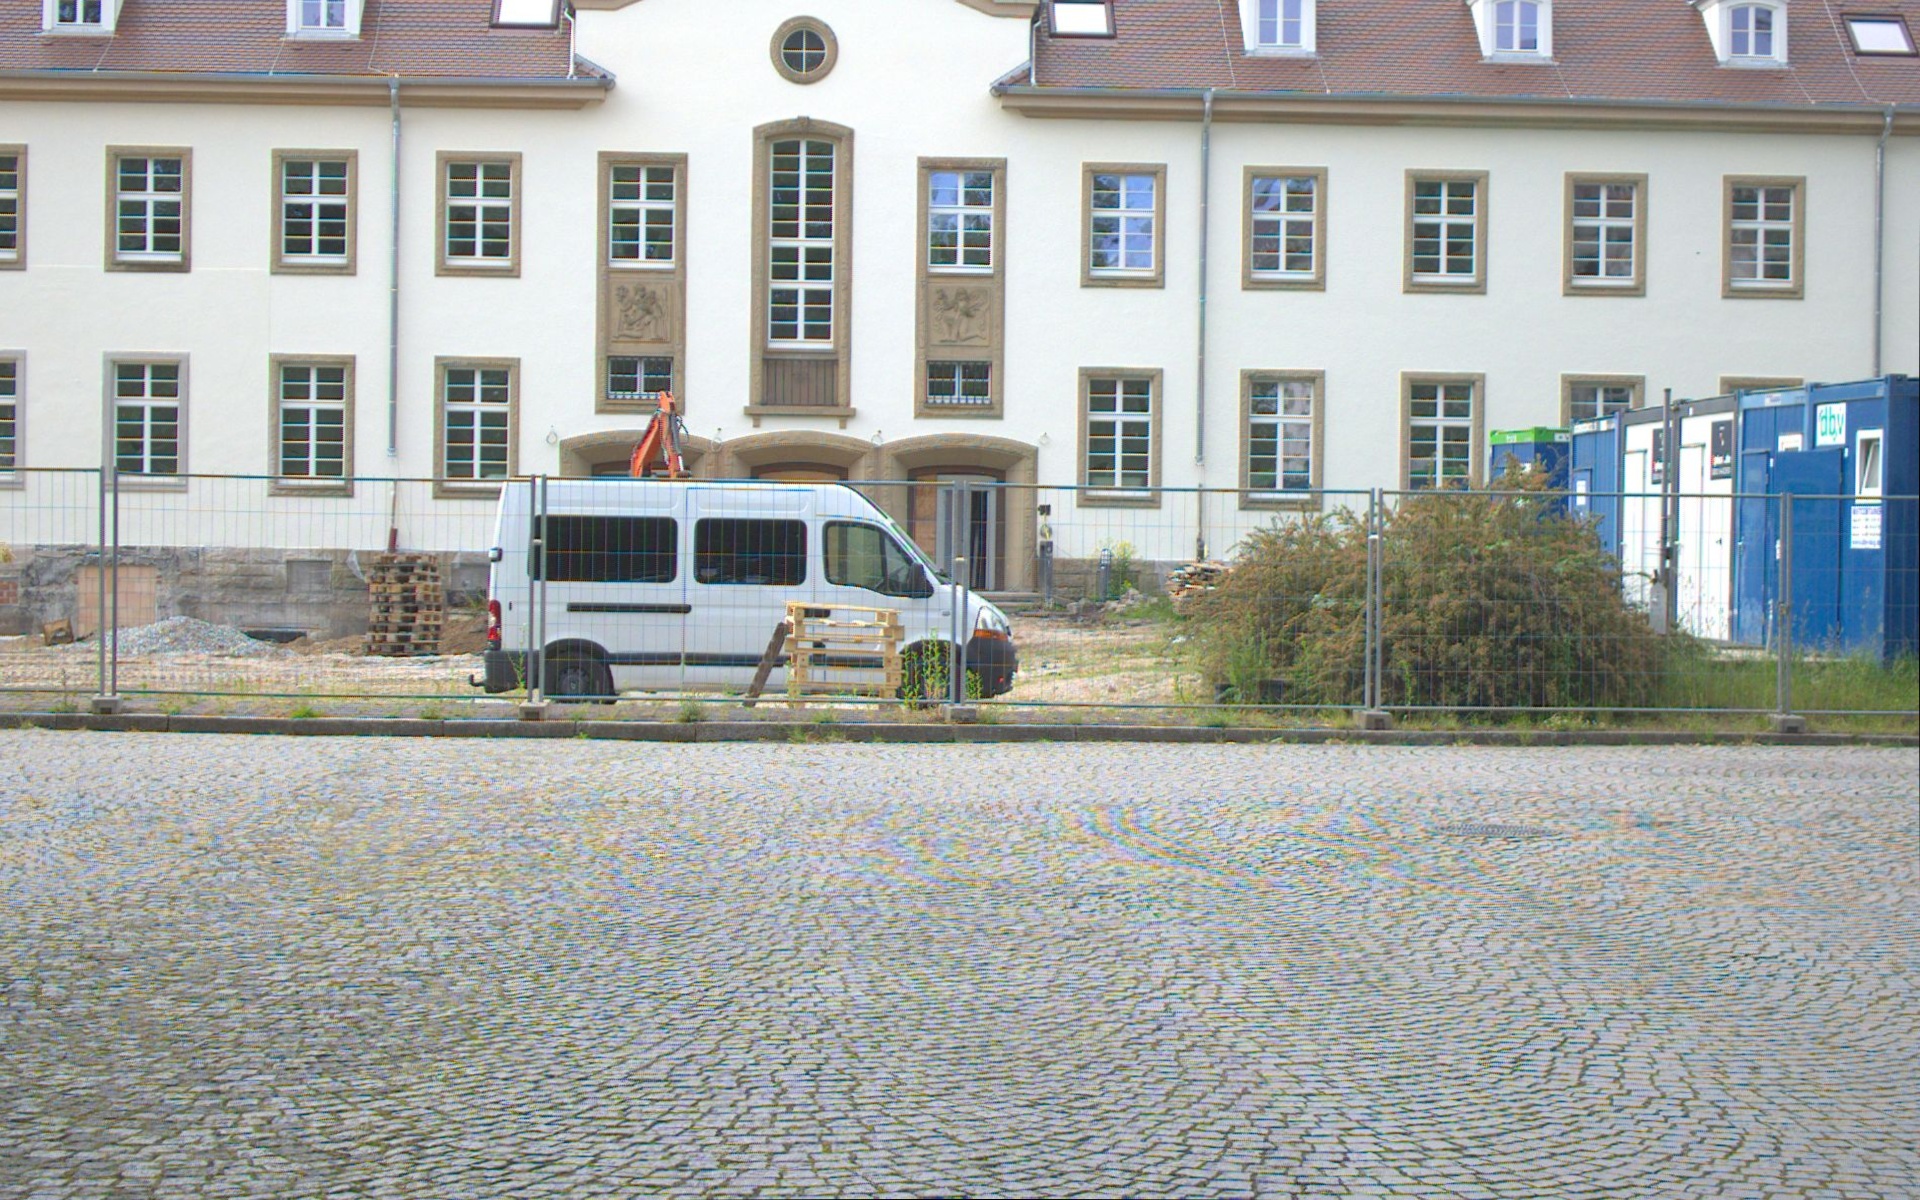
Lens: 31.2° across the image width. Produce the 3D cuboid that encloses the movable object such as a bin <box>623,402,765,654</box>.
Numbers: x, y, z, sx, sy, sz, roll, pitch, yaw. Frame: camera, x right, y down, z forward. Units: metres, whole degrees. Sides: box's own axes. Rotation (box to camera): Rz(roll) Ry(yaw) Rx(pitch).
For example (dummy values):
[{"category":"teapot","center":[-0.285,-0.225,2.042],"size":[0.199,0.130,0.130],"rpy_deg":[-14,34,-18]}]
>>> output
[{"category":"movable object such as a bin","center":[-4.282,-1.125,54.600],"size":[1.993,3.758,5.319],"rpy_deg":[1,1,-6]}]

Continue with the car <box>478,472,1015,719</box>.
[{"category":"car","center":[-2.128,-0.059,34.929],"size":[5.262,2.336,1.910],"rpy_deg":[1,1,-1]}]
